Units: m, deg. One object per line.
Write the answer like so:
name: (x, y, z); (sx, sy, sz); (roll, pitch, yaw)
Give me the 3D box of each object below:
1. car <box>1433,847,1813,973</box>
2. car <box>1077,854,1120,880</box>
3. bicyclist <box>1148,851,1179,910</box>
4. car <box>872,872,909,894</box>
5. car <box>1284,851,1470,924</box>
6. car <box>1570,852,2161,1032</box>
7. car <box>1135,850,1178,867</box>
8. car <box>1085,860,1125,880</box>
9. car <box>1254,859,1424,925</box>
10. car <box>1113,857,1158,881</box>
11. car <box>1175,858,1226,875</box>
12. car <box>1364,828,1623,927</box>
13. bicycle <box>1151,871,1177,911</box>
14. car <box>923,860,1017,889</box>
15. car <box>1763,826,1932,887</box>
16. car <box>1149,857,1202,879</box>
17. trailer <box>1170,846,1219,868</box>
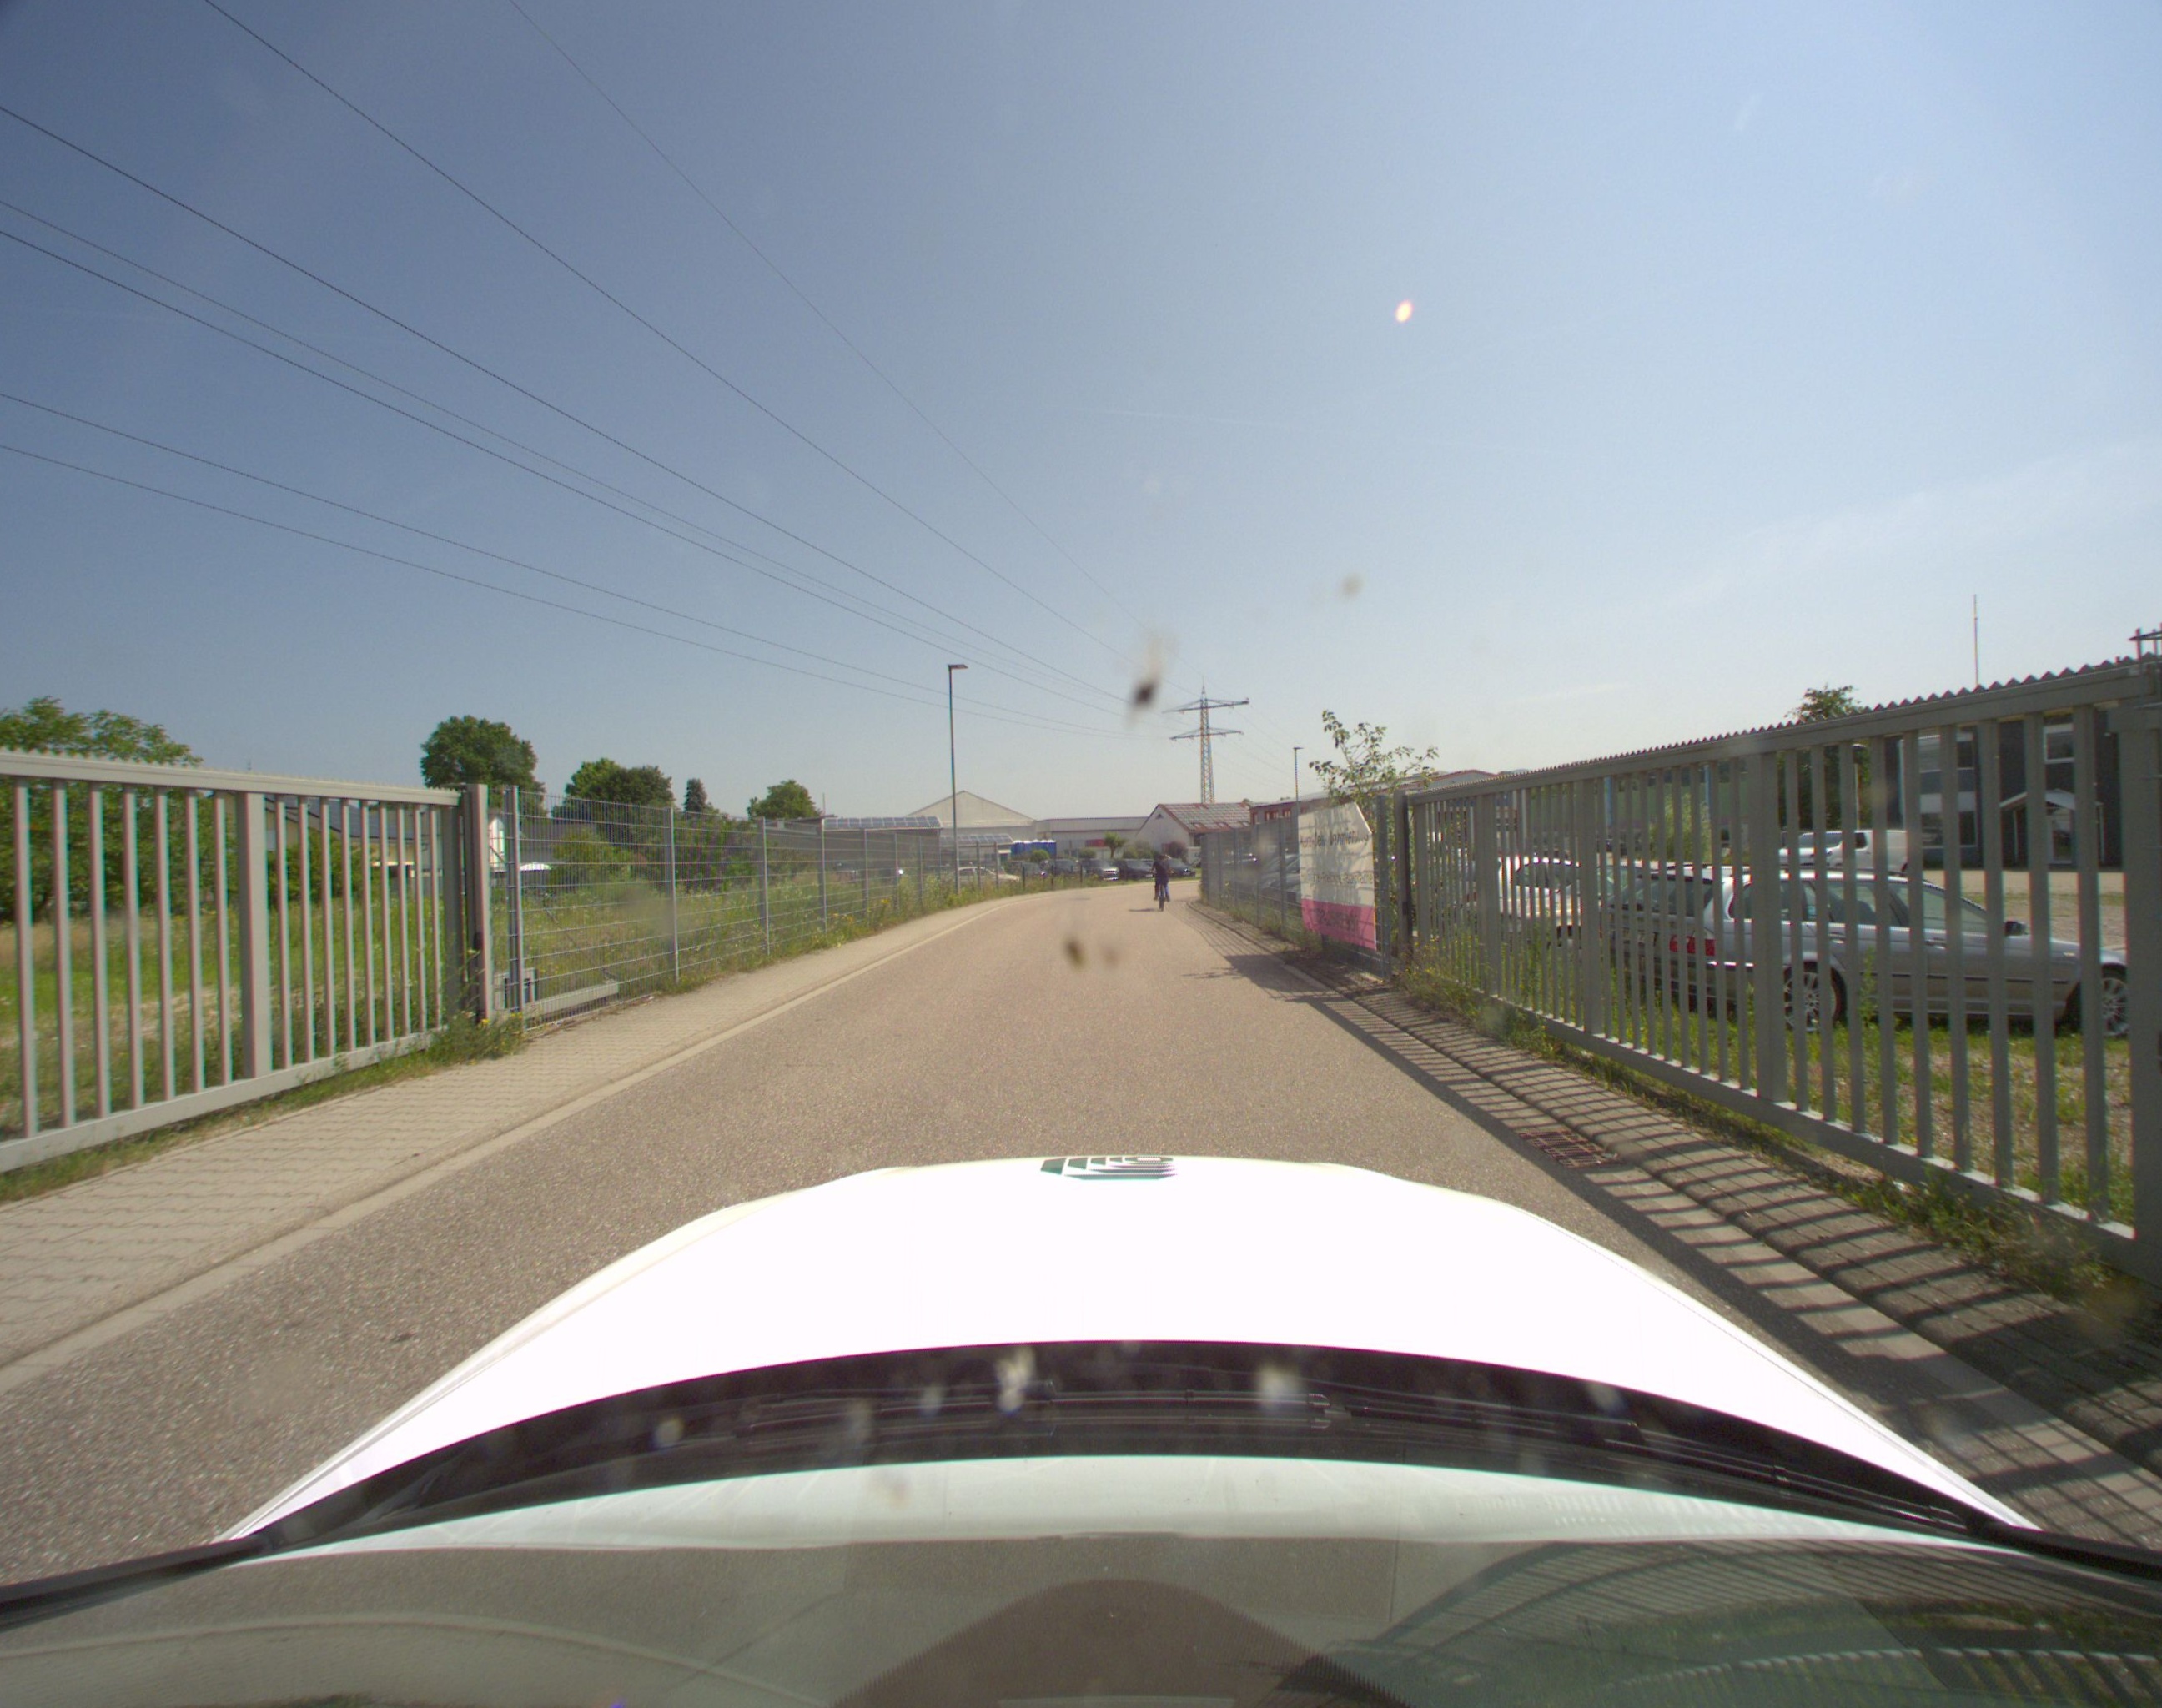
car: (6.656, 0.652, 10.307); (3.651, 1.354, 1.740); (-2, 0, 0)
car: (1.159, 0.907, 55.843); (1.867, 1.644, 3.612); (-2, 0, -18)
bicyclist: (2.335, 0.735, 23.057); (0.838, 1.618, 1.041); (-1, 0, 5)
car: (-13.390, 2.017, 57.044); (1.872, 1.414, 3.412); (-2, -1, -25)
car: (6.511, 0.717, 18.139); (3.513, 1.389, 1.636); (3, 0, -1)
car: (7.135, 0.754, 7.665); (4.153, 1.474, 1.636); (1, 0, -3)
car: (7.771, 0.482, 84.311); (3.996, 1.598, 1.866); (-2, 0, -16)
car: (1.786, 1.184, 62.818); (1.997, 1.420, 3.979); (-2, 0, -15)
car: (6.401, 0.943, 20.443); (3.644, 1.478, 1.748); (-1, -2, -6)
car: (3.718, 1.002, 56.180); (1.867, 1.554, 3.747); (-2, 0, -18)
car: (10.069, 1.037, 68.863); (4.141, 1.261, 1.227); (-2, 0, -19)
car: (6.309, 0.345, 12.666); (3.260, 1.354, 1.526); (-1, 0, -3)
bicycle: (2.343, 1.025, 23.130); (0.681, 1.051, 1.903); (-1, 0, 5)
car: (-5.748, 1.059, 41.998); (4.559, 1.307, 1.857); (-2, -1, -18)
car: (26.924, 0.072, 28.628); (5.066, 1.899, 1.849); (-2, 0, -14)
car: (6.655, 1.008, 58.078); (2.001, 1.435, 4.637); (-2, 0, -18)
trailer: (11.030, 0.256, 79.310); (4.437, 1.945, 1.712); (-2, 0, -3)
